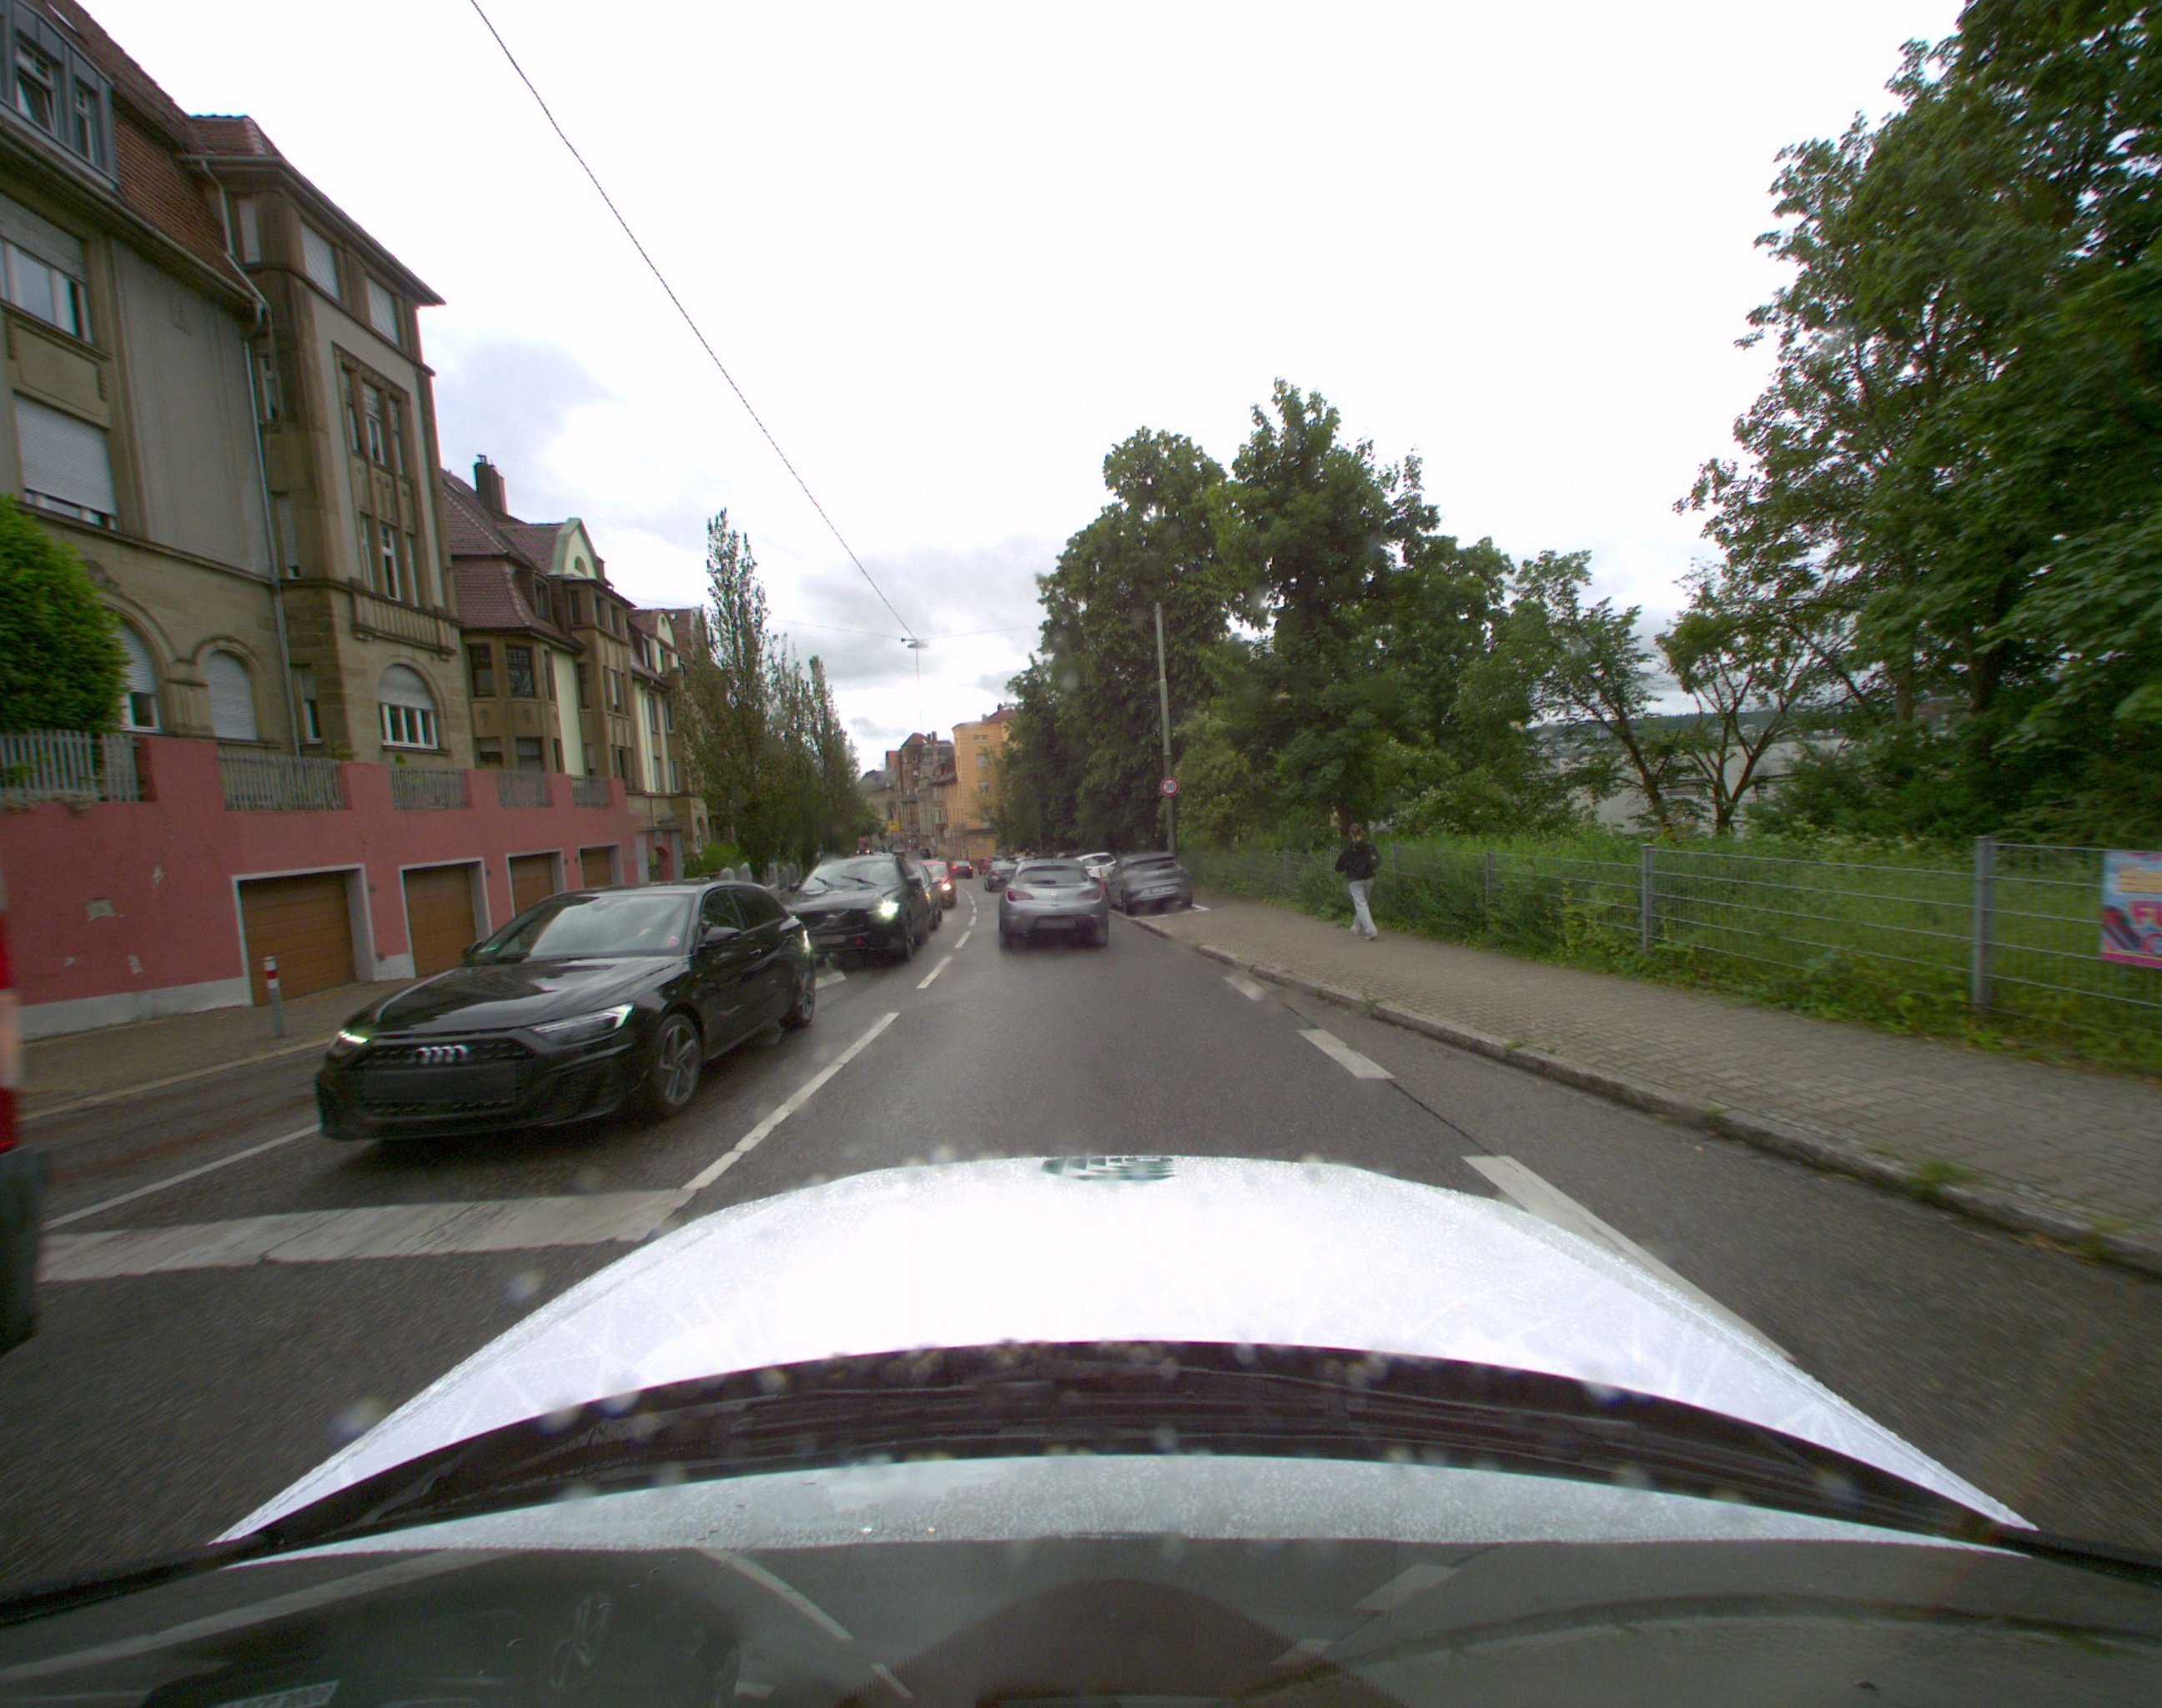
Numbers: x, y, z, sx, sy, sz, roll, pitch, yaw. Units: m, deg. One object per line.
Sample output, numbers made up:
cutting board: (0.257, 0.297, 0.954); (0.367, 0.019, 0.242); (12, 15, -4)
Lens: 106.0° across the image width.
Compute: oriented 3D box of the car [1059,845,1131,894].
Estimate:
car: (0.453, 0.589, 31.418); (1.816, 1.494, 3.984); (-9, 0, -11)

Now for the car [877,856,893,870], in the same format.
car: (-25.936, 1.133, 107.936); (1.825, 1.650, 3.982); (-5, 1, -13)

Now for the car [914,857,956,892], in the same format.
car: (-7.596, 1.016, 42.655); (1.845, 1.583, 4.267); (-5, 1, -8)

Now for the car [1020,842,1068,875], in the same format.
car: (-2.210, 0.266, 47.225); (1.978, 1.609, 4.466); (-6, 0, -12)

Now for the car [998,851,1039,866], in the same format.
car: (-6.297, 0.439, 81.967); (3.783, 1.430, 1.771); (0, -2, -18)

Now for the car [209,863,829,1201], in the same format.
car: (-3.335, 0.877, 5.969); (1.811, 1.429, 3.995); (-4, 0, -3)

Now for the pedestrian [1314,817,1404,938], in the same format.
pedestrian: (4.000, 0.317, 11.771); (0.764, 1.605, 0.964); (-6, 0, -5)

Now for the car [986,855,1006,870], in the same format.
car: (-9.211, 0.871, 88.712); (1.770, 1.429, 3.786); (-2, 2, 0)

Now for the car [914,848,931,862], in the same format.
car: (-23.436, 0.100, 120.308); (1.998, 1.688, 3.979); (-9, 1, -15)

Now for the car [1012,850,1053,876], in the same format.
car: (-3.200, 0.591, 52.901); (1.978, 1.452, 4.096); (-6, 0, -12)

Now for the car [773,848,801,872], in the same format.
car: (-23.890, 0.494, 66.226); (1.793, 1.651, 4.171); (-8, 2, -17)

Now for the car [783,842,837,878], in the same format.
car: (-13.553, 0.305, 40.950); (1.814, 1.612, 3.989); (-2, 0, -8)

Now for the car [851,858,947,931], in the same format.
car: (-4.199, 0.865, 19.387); (1.772, 1.497, 4.252); (-2, 0, -7)

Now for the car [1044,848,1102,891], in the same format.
car: (-0.450, 0.660, 37.217); (1.821, 1.682, 4.789); (-6, 1, -9)

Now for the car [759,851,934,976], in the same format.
car: (-3.579, 0.798, 13.321); (1.873, 1.574, 4.577); (-3, 0, -6)

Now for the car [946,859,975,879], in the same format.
car: (-9.661, 1.174, 65.024); (1.771, 1.414, 3.696); (-2, 1, -16)

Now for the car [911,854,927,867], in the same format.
car: (-20.019, 0.822, 100.460); (1.643, 1.536, 3.698); (-4, 1, -15)

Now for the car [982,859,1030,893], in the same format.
car: (-3.544, 0.996, 37.941); (1.777, 1.430, 3.771); (-3, 0, -11)

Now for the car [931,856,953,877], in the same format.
car: (-13.939, 1.195, 81.267); (1.644, 1.688, 3.697); (-4, 4, -17)

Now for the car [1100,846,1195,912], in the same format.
car: (1.649, 0.613, 21.441); (1.648, 1.404, 3.804); (-7, 0, -7)

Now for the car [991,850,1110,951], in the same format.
car: (-0.534, 0.727, 14.950); (1.810, 1.429, 3.998); (-3, 2, -2)

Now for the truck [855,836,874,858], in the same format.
truck: (-45.235, -1.522, 169.931); (2.797, 4.131, 10.786); (-5, 3, -18)

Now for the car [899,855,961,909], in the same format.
car: (-4.999, 0.880, 27.388); (1.653, 1.568, 3.991); (-3, 0, -6)

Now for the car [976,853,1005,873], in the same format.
car: (-8.025, 0.798, 71.629); (1.818, 1.467, 3.980); (-8, 1, -14)

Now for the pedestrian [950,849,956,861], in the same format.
pedestrian: (-16.438, 0.087, 104.630); (0.614, 1.496, 0.550); (-4, 3, -14)

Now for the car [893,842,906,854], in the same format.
car: (-29.607, -0.970, 132.766); (1.786, 1.855, 3.976); (-3, 0, -17)
